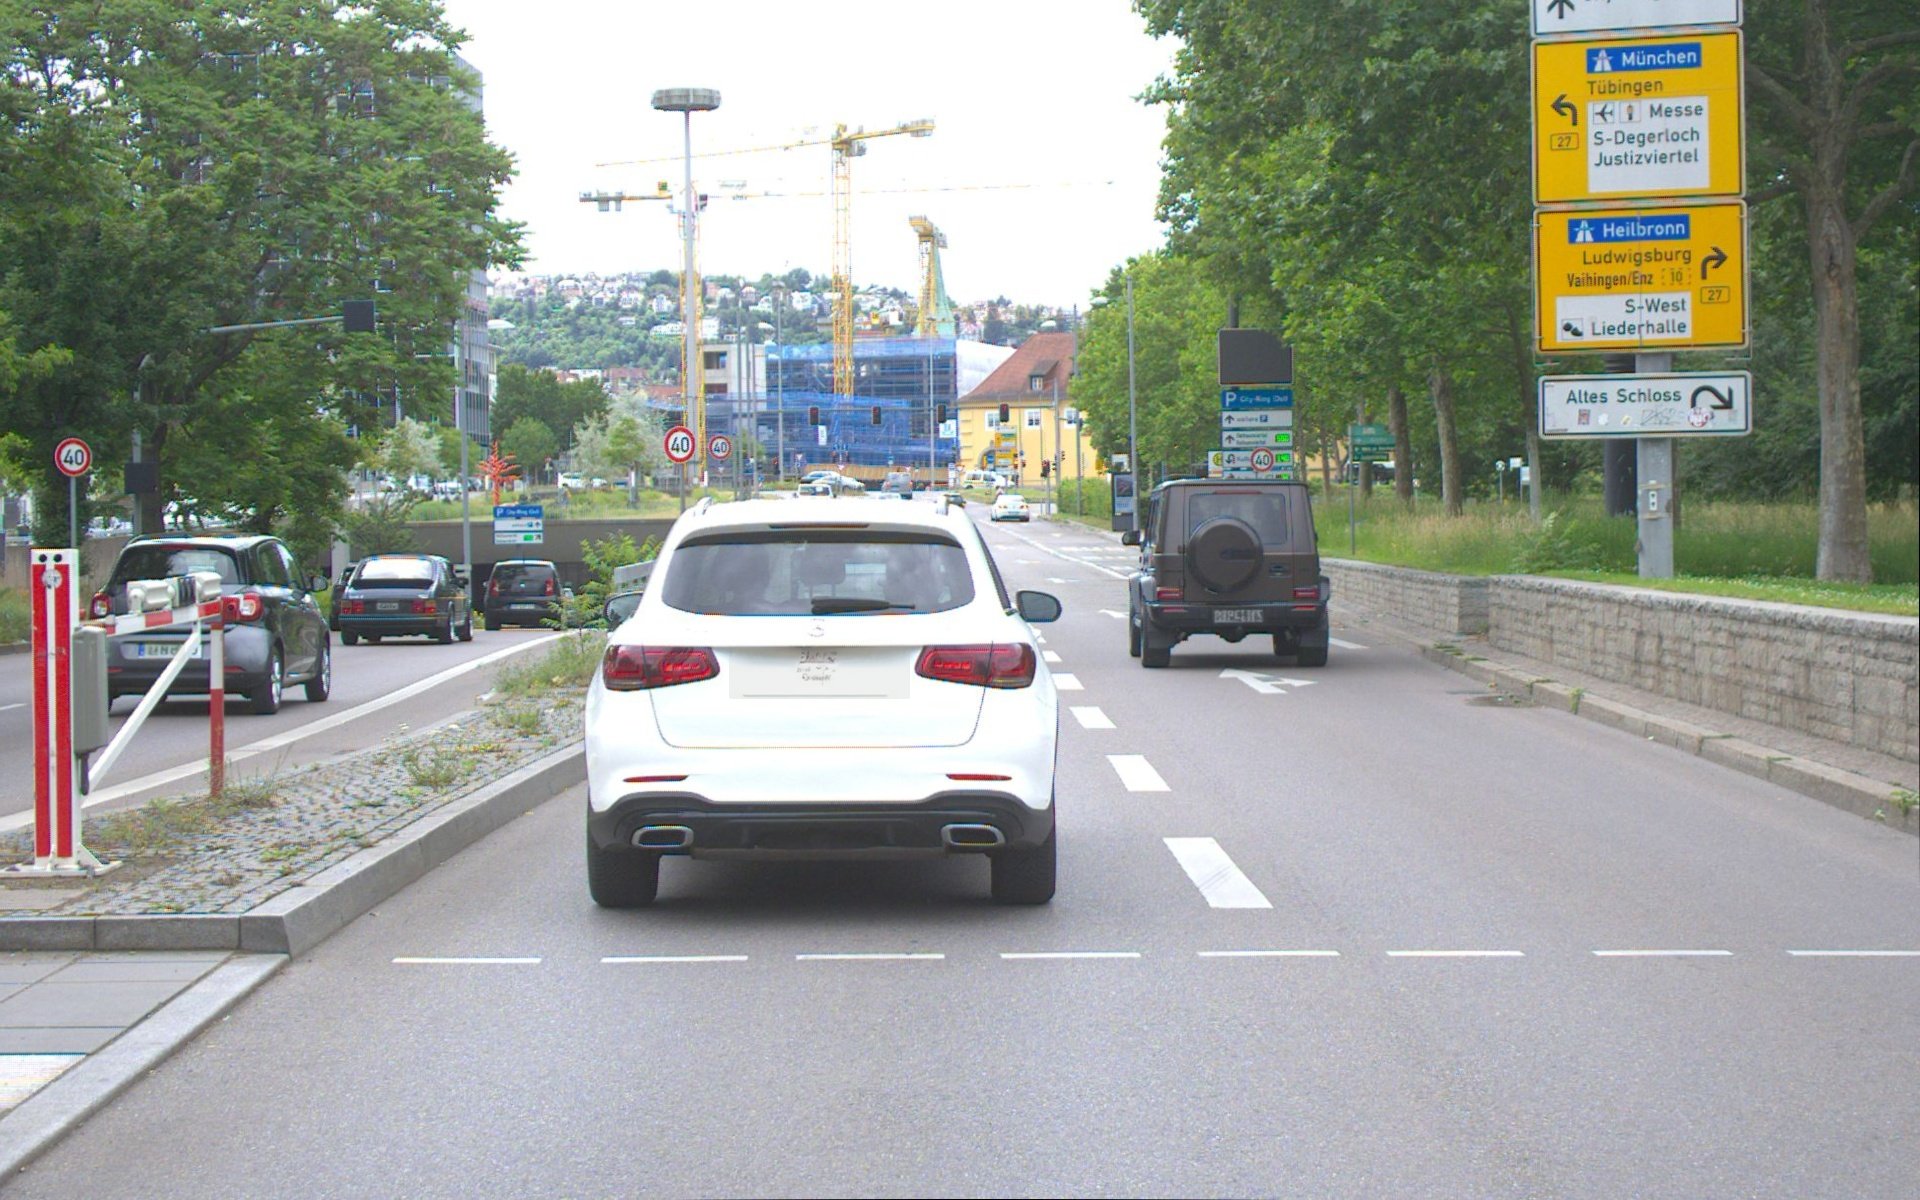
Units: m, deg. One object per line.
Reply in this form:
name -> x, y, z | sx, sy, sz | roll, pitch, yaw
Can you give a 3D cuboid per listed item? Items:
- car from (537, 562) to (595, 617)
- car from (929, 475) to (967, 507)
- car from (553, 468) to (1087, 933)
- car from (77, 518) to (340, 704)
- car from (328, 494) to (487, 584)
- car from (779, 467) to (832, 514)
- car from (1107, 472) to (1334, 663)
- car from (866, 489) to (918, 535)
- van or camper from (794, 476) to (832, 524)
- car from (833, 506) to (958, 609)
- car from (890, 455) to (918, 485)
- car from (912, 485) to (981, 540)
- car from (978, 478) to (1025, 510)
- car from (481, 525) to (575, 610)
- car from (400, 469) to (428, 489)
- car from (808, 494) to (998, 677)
car -> -12.393, -0.336, 108.311 | 1.719, 1.579, 4.001 | 2, 1, -6
car -> -0.635, -5.672, 179.329 | 1.719, 1.579, 4.001 | 2, 1, -4
car -> -0.622, 0.349, 14.803 | 1.940, 1.678, 4.001 | 2, 1, -3
car -> -6.471, 0.063, 29.912 | 1.627, 1.504, 3.540 | 1, 1, -2
car -> -8.525, -0.962, 53.364 | 1.719, 1.288, 4.000 | 2, 1, 1
car -> -6.253, -4.421, 139.394 | 1.993, 1.751, 4.000 | 2, 1, -1
car -> 2.750, -0.367, 37.364 | 1.977, 1.887, 4.707 | 2, 1, -1
car -> -2.821, -3.617, 141.459 | 1.993, 1.774, 4.001 | 2, 1, -3
van or camper -> -7.507, -5.094, 175.362 | 1.922, 2.312, 4.000 | 0, 0, -3
car -> -1.094, -0.721, 56.196 | 1.922, 1.596, 4.001 | 0, 2, -3
car -> -4.054, -9.391, 248.369 | 1.800, 2.007, 4.001 | 2, 1, -3
car -> -0.450, -2.772, 109.987 | 1.993, 1.656, 4.001 | 2, 1, -3
car -> 2.205, -5.650, 183.315 | 1.993, 1.612, 4.001 | 2, 1, -7
car -> -9.156, -0.715, 73.053 | 1.719, 1.673, 4.001 | 2, 1, -4
car -> -39.348, -8.726, 247.733 | 1.831, 1.355, 3.869 | 2, 1, -8
car -> -0.573, -0.147, 33.234 | 1.672, 1.622, 4.000 | 2, 0, -2
